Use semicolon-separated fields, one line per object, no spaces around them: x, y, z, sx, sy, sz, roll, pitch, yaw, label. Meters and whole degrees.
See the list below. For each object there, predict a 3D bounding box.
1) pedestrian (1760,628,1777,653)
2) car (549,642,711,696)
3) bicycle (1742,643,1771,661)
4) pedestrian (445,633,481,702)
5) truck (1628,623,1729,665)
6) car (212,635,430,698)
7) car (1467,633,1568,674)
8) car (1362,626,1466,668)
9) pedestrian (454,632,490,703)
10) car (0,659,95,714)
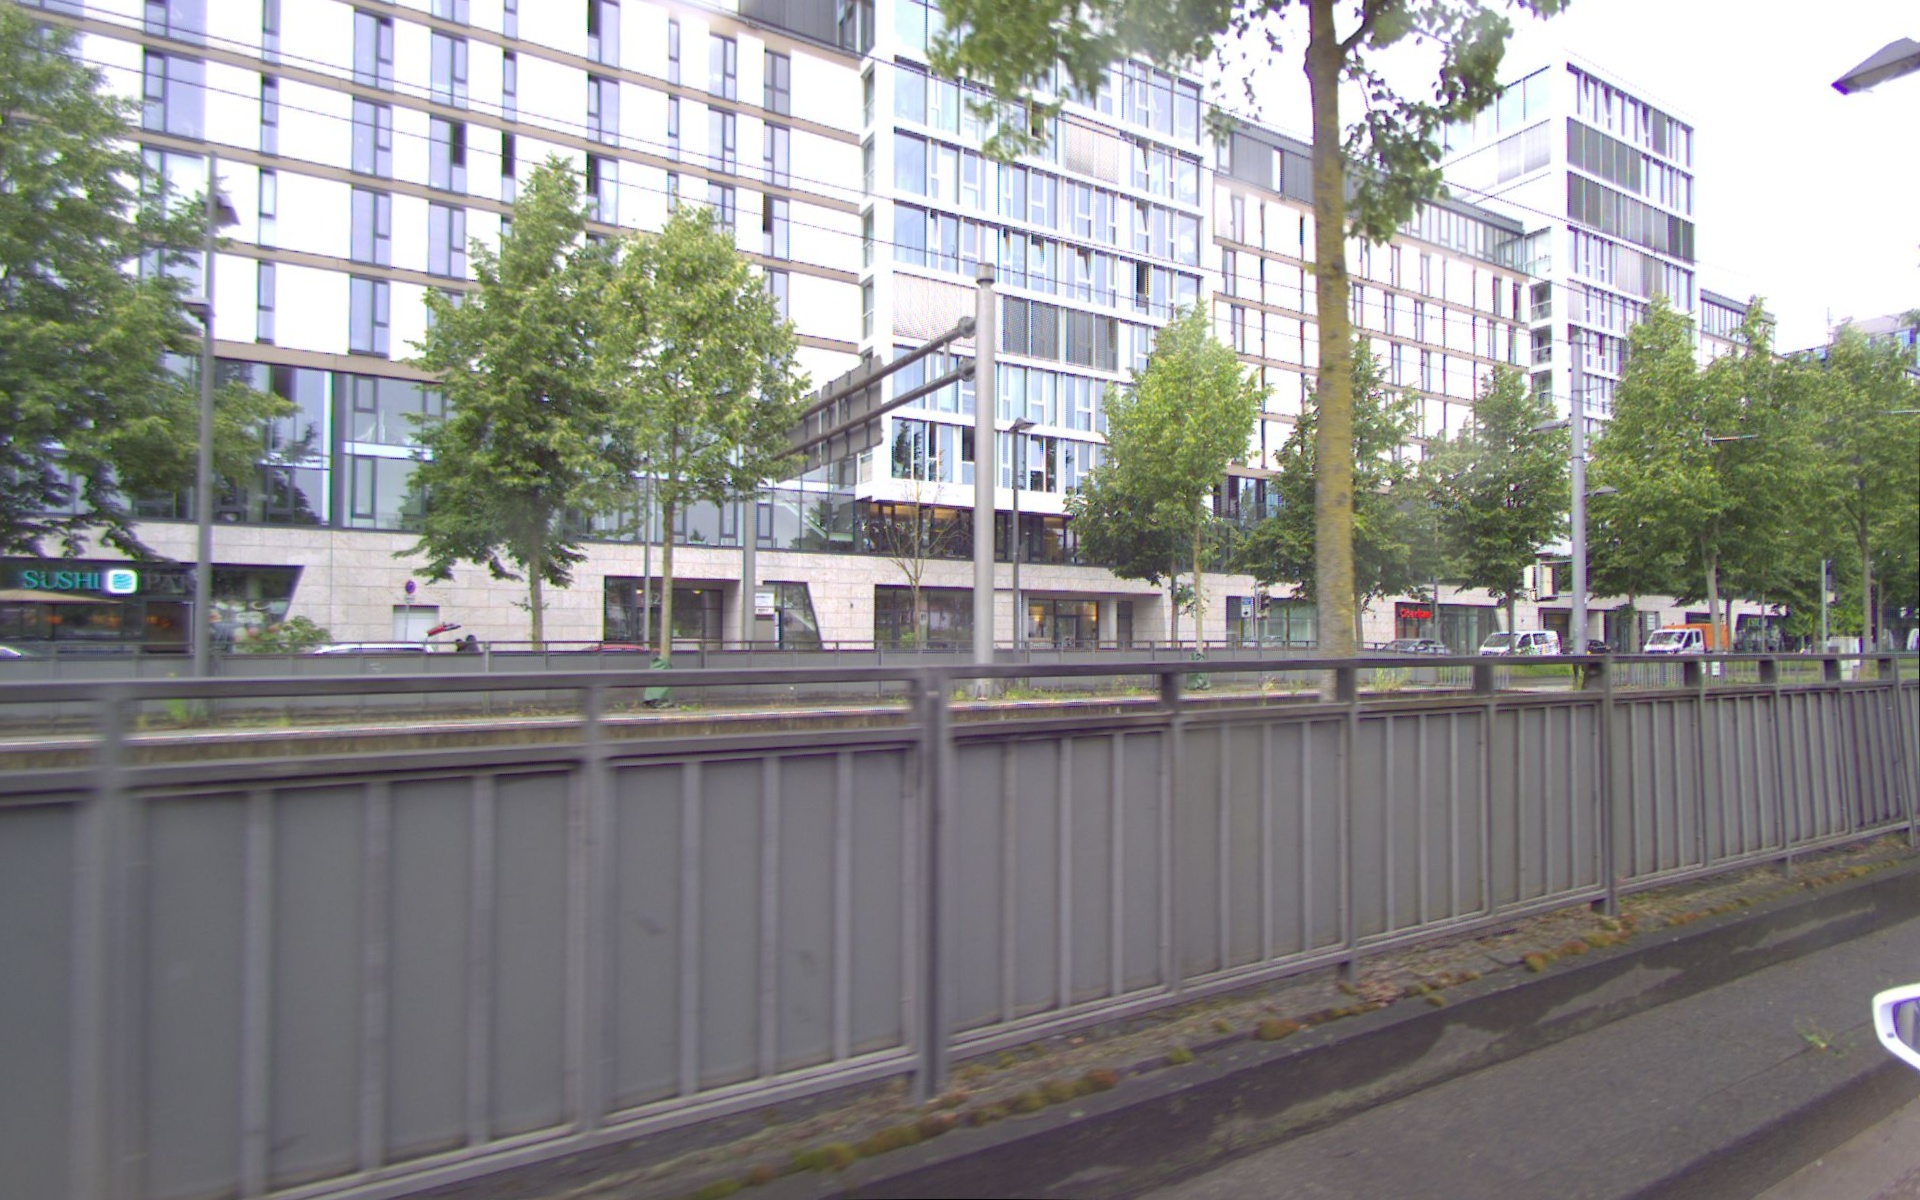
66.824;3.361;83.053;0.843;2.007;0.793;1;-1;-22;pedestrian
-8.729;1.794;26.589;3.812;1.305;1.985;1;-2;-29;car
45.376;2.960;57.227;1.734;0.957;0.597;1;-2;-27;bicycle
-12.715;1.718;25.685;0.782;1.714;0.708;1;-1;-27;pedestrian
41.063;2.493;57.390;6.235;2.322;2.415;1;-2;-31;truck
-14.453;1.492;23.027;4.020;1.305;1.985;2;-2;-29;car
26.966;2.534;48.548;5.105;1.876;1.984;1;-2;-31;car
19.983;2.014;44.198;4.416;1.735;2.132;1;-1;-33;car
-12.197;1.667;25.090;0.782;1.714;0.708;1;-1;-27;pedestrian
-24.799;2.188;25.577;3.812;1.305;1.985;1;-2;-29;car
